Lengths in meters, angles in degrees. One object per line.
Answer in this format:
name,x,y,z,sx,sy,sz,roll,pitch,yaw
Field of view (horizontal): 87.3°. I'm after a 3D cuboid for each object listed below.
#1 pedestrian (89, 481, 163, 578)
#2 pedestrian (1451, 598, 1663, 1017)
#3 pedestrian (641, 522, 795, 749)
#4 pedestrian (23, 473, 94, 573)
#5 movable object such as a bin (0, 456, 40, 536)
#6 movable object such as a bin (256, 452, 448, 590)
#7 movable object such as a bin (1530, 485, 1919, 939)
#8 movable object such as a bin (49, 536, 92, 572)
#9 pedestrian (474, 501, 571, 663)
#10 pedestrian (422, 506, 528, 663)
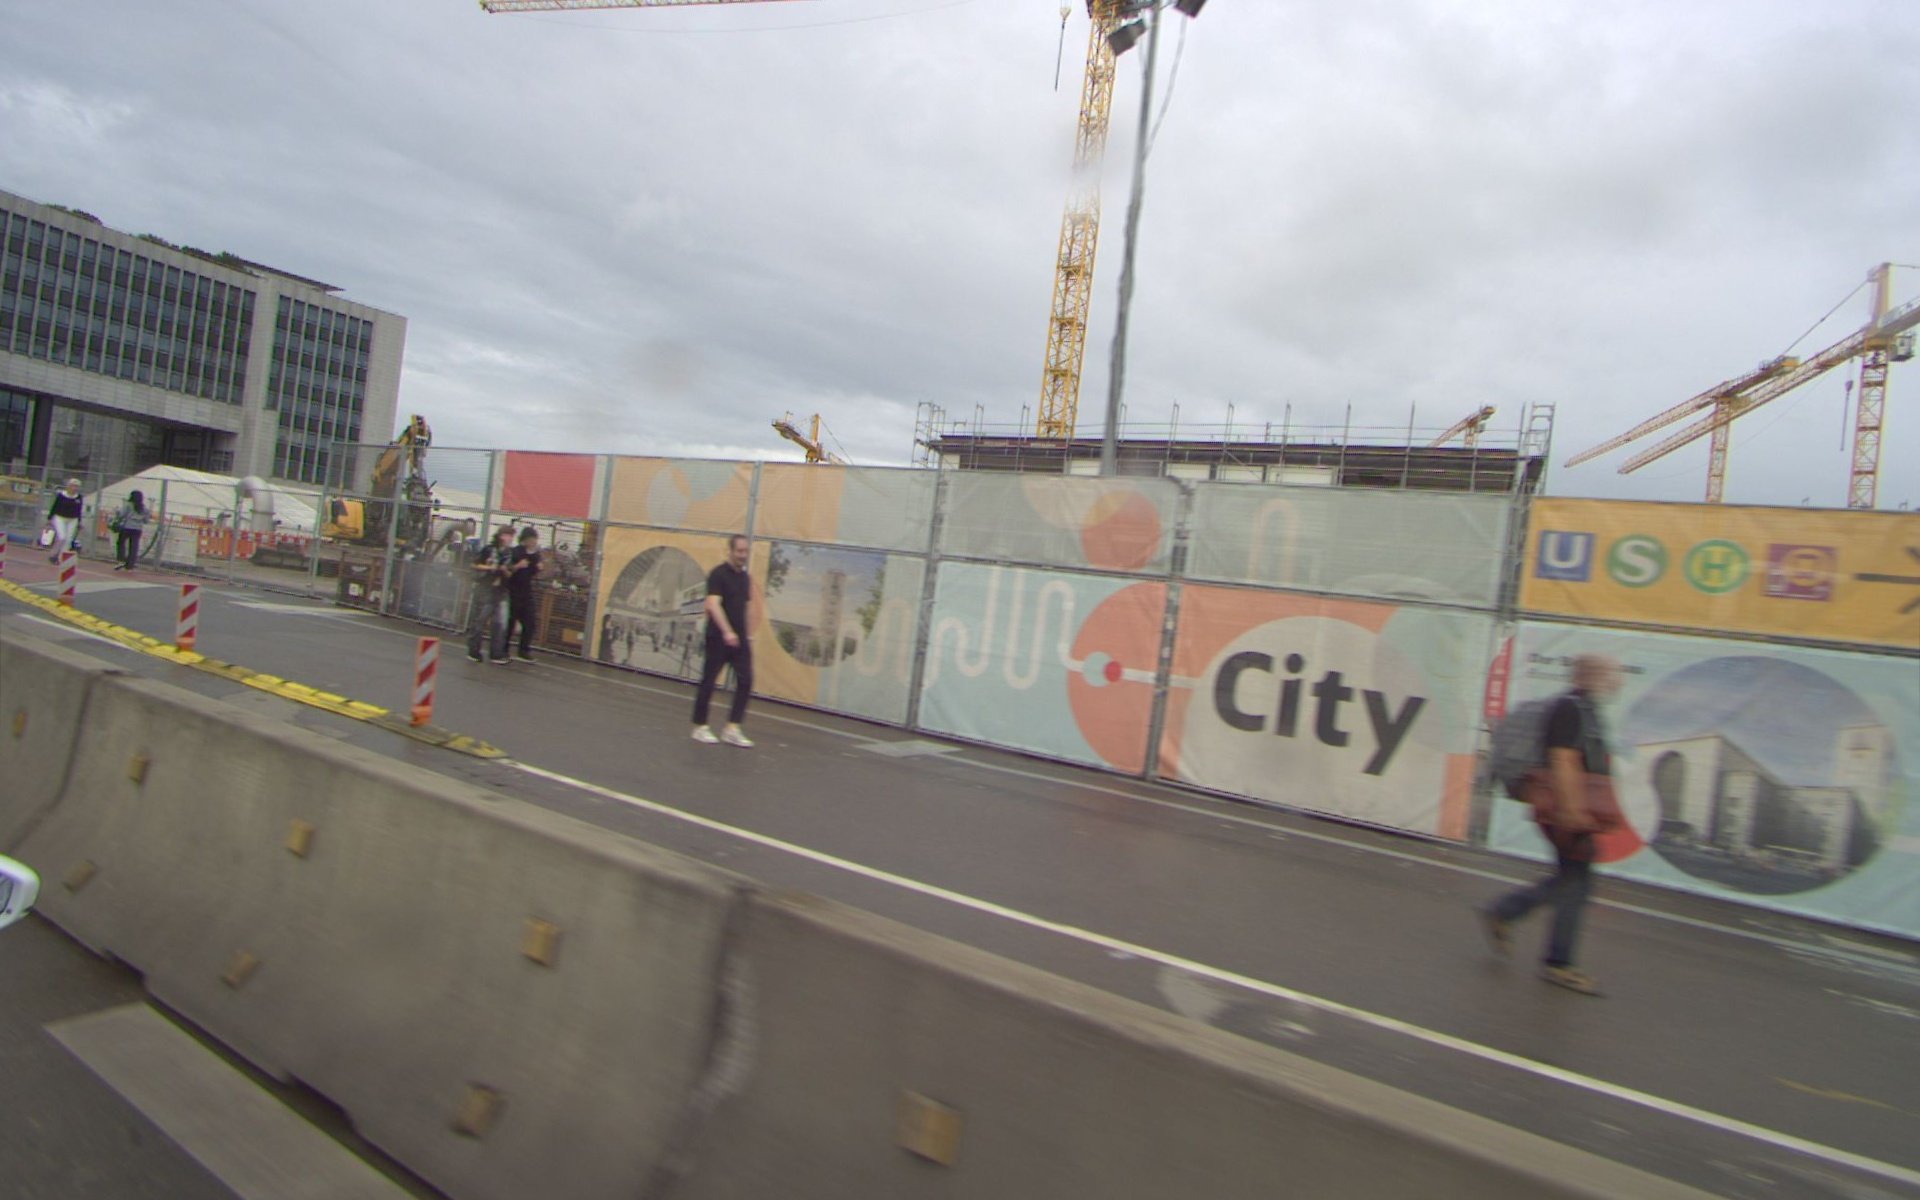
pedestrian,-17.524,-1.473,21.144,0.671,1.883,0.789,7,-1,26
pedestrian,3.047,0.992,5.157,0.675,1.855,0.927,7,-1,32
pedestrian,-2.181,0.326,9.109,0.806,1.899,0.797,7,-1,32
pedestrian,-18.227,-1.556,20.346,0.671,1.883,0.666,7,-1,26
movable object such as a bin,-53.399,-5.918,54.626,3.626,4.076,3.100,7,-1,7
movable object such as a bin,-19.208,-2.449,31.763,4.298,3.534,3.921,7,-1,44
movable object such as a bin,8.405,1.072,10.047,4.281,3.534,3.937,7,-1,29
movable object such as a bin,-18.485,-0.956,20.909,0.525,0.632,0.434,7,-1,26
pedestrian,-5.853,-0.234,13.468,0.675,2.038,0.680,8,0,31
pedestrian,-6.130,-0.187,12.732,0.616,1.855,0.797,7,-1,32
